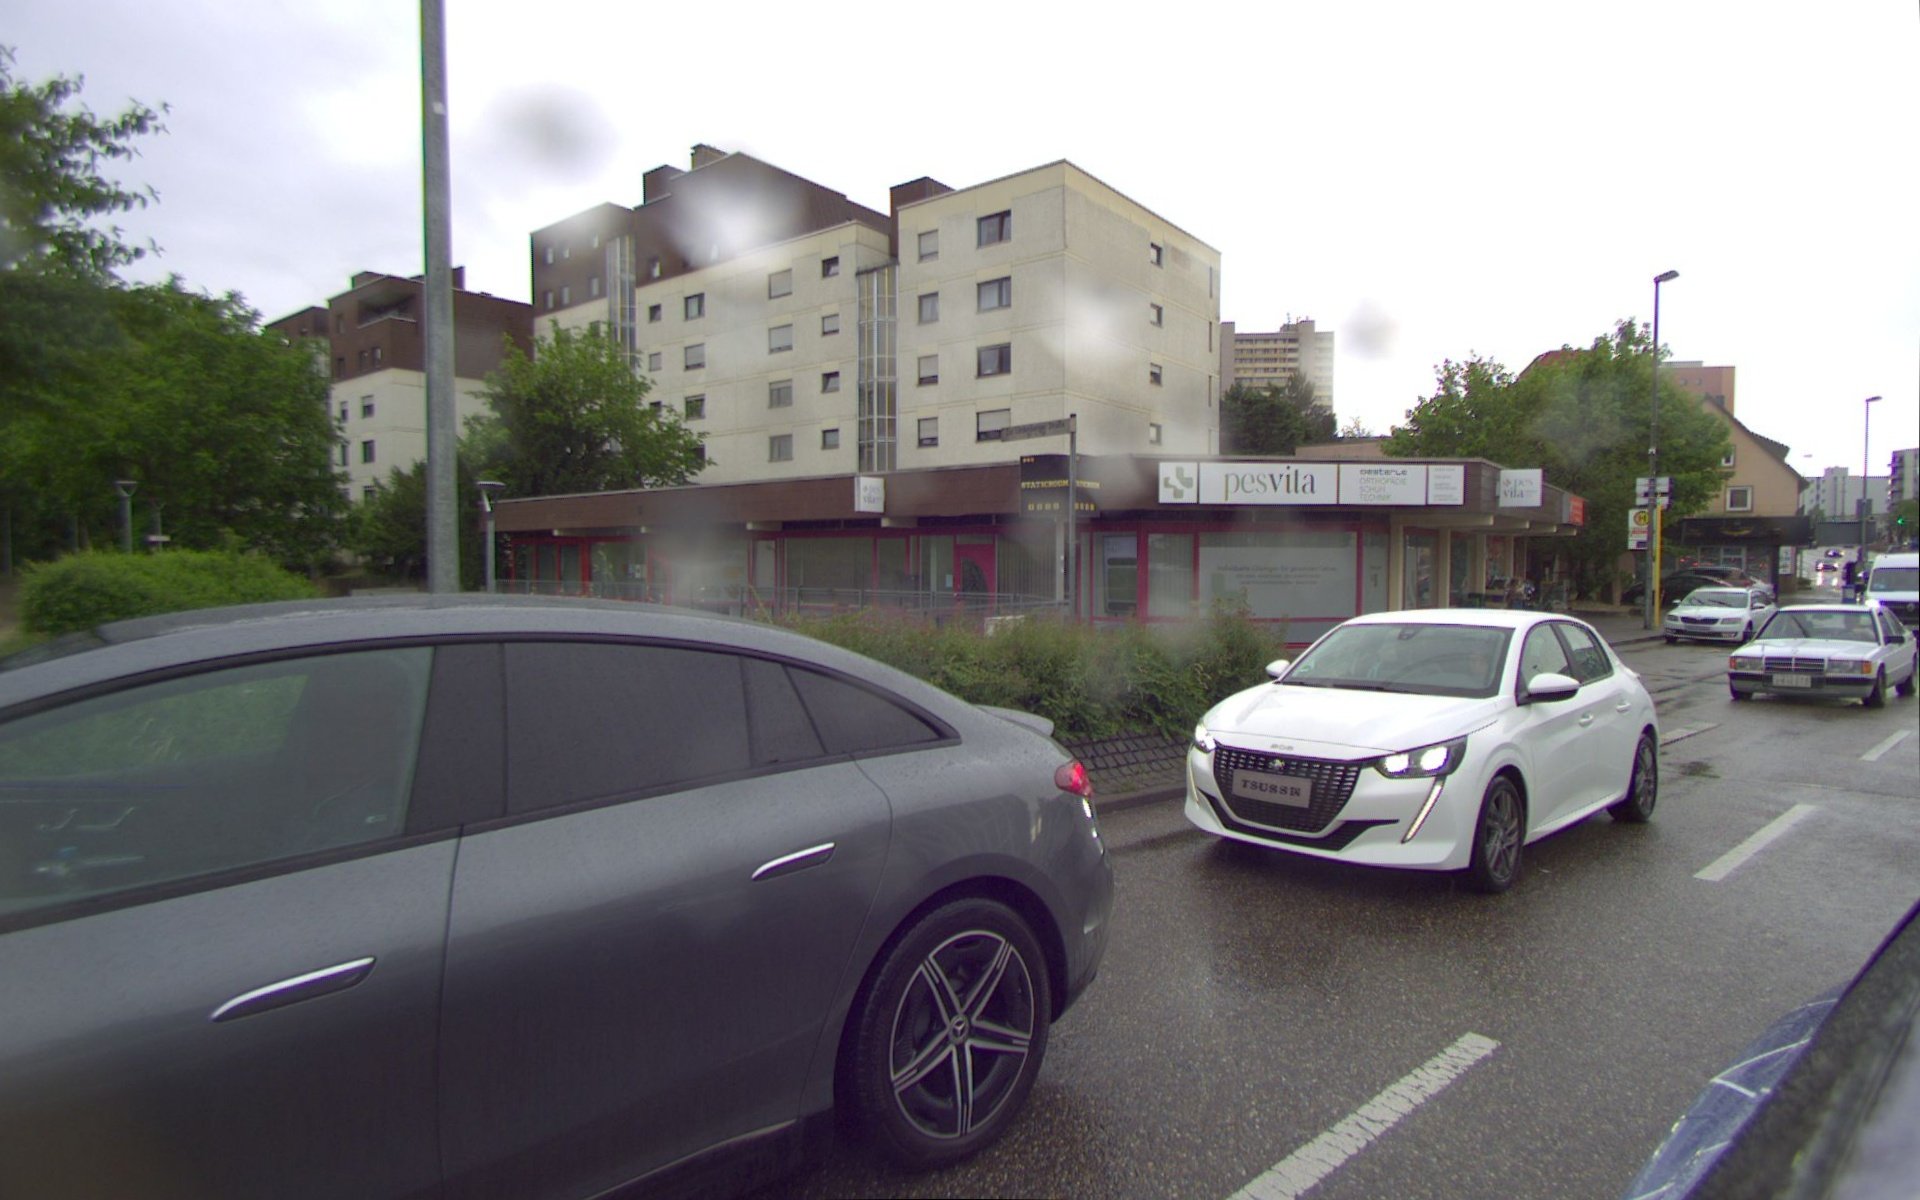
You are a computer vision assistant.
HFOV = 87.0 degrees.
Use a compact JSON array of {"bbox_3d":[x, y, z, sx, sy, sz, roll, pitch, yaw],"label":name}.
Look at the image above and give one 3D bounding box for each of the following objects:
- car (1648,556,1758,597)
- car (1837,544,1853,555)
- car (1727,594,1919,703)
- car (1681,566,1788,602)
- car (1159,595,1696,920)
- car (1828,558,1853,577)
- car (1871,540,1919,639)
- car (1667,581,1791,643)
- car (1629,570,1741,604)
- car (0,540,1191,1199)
[{"bbox_3d":[34.163,-1.089,46.575,3.981,1.801,1.858,2,2,39],"label":"car"},{"bbox_3d":[140.059,-7.935,160.222,1.657,1.654,3.754,1,1,37],"label":"car"},{"bbox_3d":[13.004,0.613,14.998,4.089,1.362,1.787,-1,1,-41],"label":"car"},{"bbox_3d":[36.951,-0.790,48.347,3.981,1.614,1.857,2,0,39],"label":"car"},{"bbox_3d":[3.213,0.704,6.555,4.043,1.433,1.665,-1,1,-41],"label":"car"},{"bbox_3d":[97.790,-3.568,112.404,1.992,2.039,3.940,0,1,42],"label":"car"},{"bbox_3d":[26.968,-0.336,27.983,6.021,2.549,2.194,-2,2,-43],"label":"car"},{"bbox_3d":[20.145,0.262,26.460,3.930,1.509,1.787,-1,1,-41],"label":"car"},{"bbox_3d":[32.274,-0.608,45.089,3.981,1.445,1.858,2,2,39],"label":"car"},{"bbox_3d":[-1.621,0.665,2.410,4.724,1.485,1.840,0,-1,-41],"label":"car"}]
